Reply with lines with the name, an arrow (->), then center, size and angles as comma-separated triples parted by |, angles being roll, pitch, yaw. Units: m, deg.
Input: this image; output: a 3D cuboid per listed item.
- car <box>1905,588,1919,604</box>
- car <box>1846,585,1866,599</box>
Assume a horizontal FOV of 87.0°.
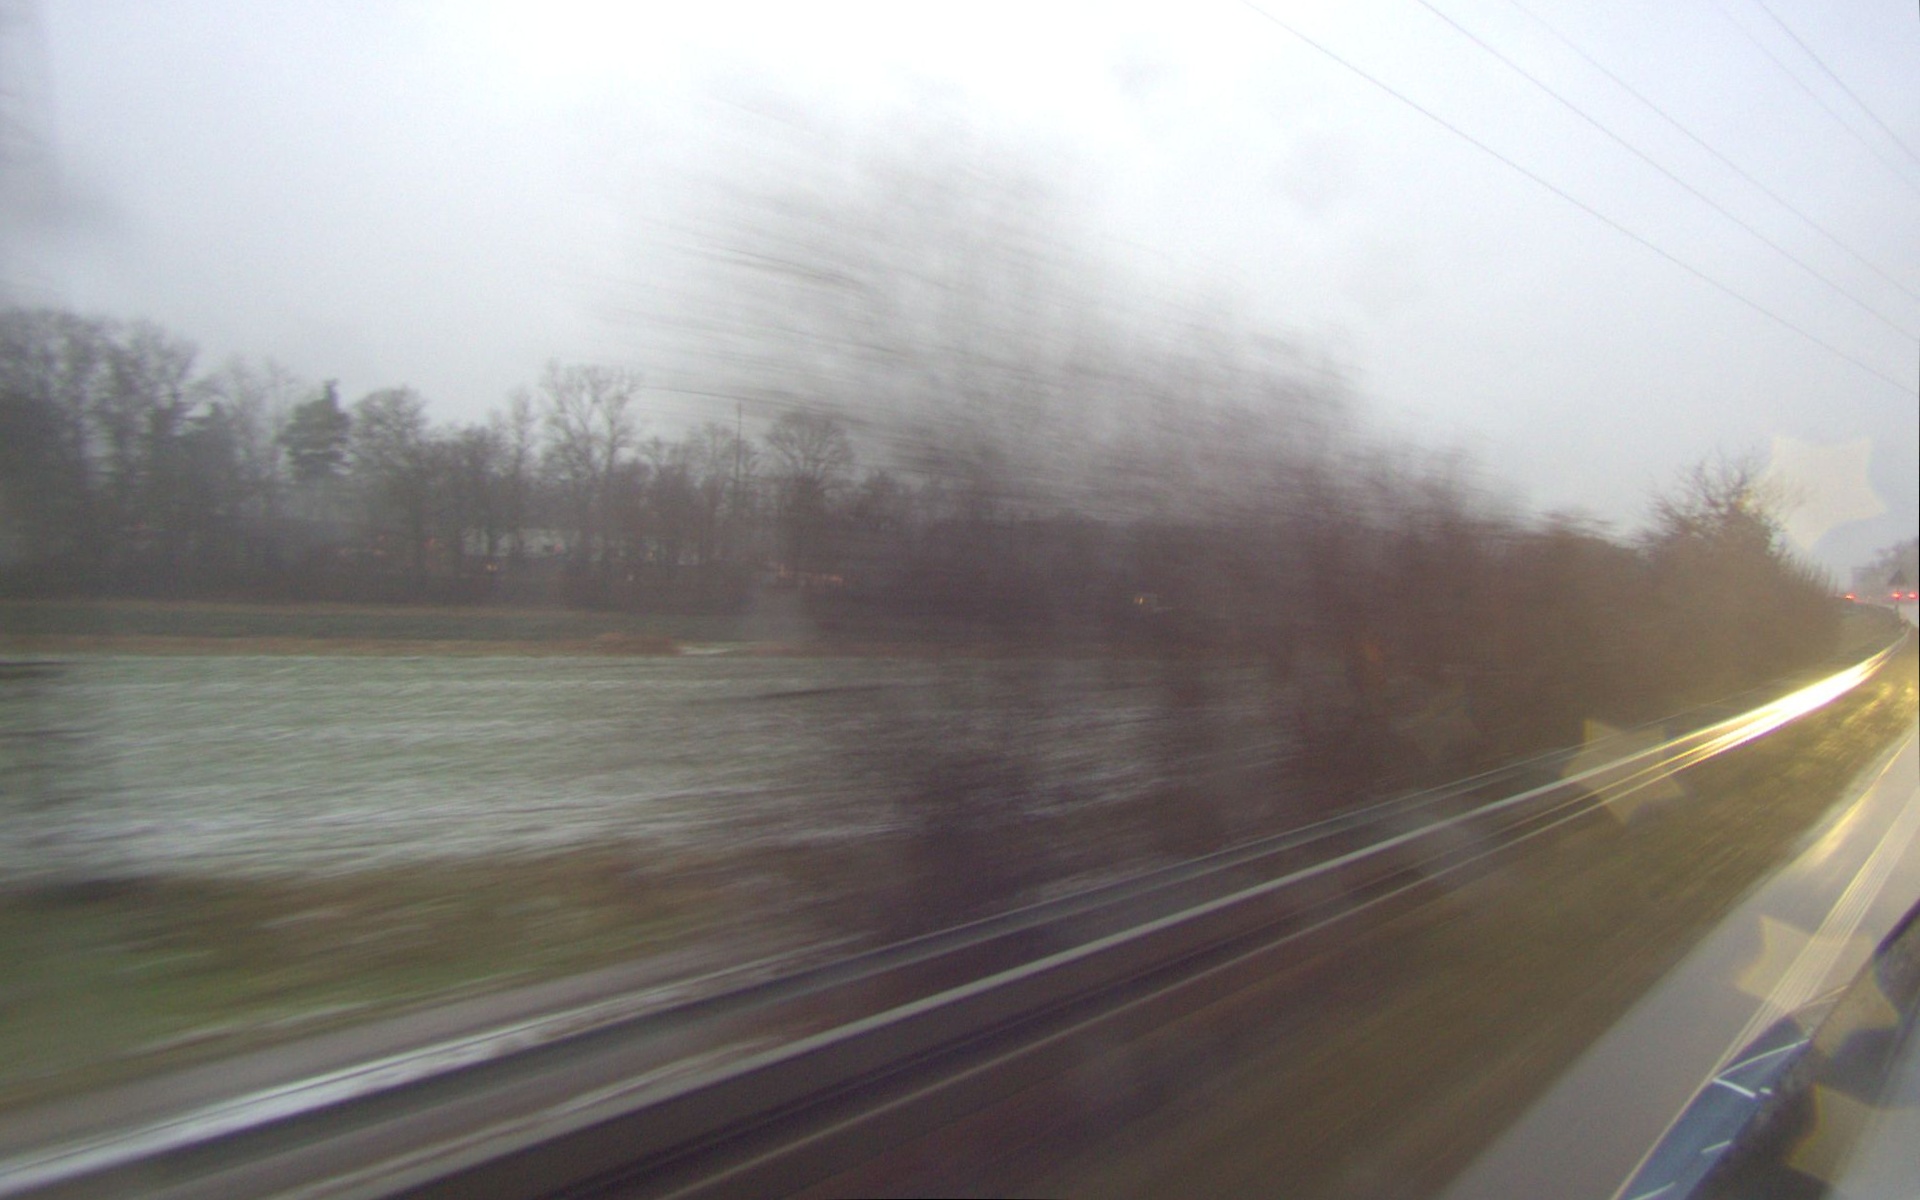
car -> 97.833, -0.422, 103.234 | 1.886, 1.609, 4.318 | 0, 1, 41
car -> 111.520, -1.006, 125.911 | 1.637, 1.489, 4.380 | 2, 5, 44
